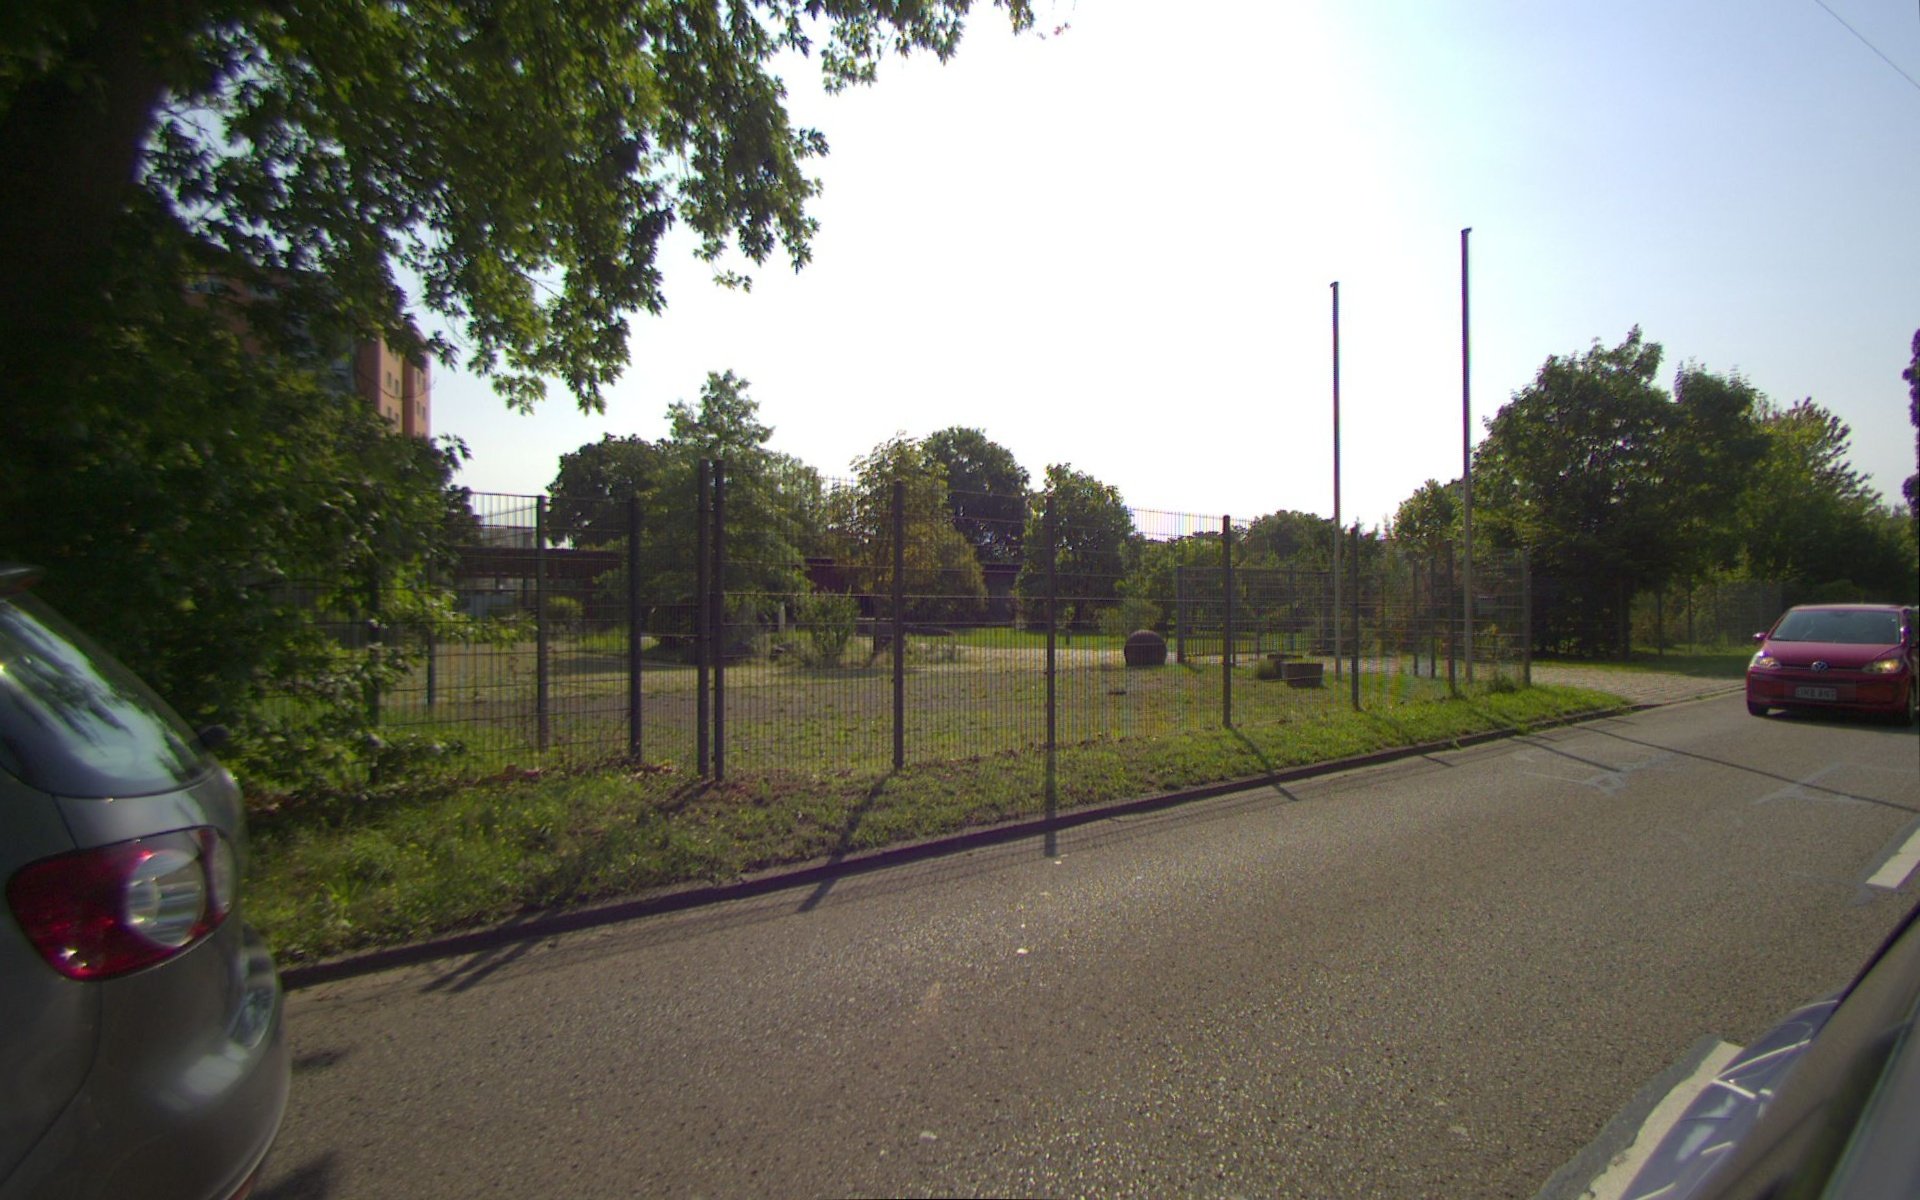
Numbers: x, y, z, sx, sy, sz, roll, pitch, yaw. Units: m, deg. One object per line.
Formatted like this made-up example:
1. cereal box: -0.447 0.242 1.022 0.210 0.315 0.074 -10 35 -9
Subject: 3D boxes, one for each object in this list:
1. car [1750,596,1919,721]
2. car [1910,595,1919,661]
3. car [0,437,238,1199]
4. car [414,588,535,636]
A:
1. car: 11.950 0.668 13.432 3.409 1.416 1.579 -1 1 -39
2. car: 23.595 0.615 23.598 3.830 1.494 1.648 0 -1 -40
3. car: -3.095 0.585 0.948 3.830 1.576 1.648 0 -1 -41
4. car: -18.740 0.437 39.148 3.929 1.739 1.743 0 0 -40
